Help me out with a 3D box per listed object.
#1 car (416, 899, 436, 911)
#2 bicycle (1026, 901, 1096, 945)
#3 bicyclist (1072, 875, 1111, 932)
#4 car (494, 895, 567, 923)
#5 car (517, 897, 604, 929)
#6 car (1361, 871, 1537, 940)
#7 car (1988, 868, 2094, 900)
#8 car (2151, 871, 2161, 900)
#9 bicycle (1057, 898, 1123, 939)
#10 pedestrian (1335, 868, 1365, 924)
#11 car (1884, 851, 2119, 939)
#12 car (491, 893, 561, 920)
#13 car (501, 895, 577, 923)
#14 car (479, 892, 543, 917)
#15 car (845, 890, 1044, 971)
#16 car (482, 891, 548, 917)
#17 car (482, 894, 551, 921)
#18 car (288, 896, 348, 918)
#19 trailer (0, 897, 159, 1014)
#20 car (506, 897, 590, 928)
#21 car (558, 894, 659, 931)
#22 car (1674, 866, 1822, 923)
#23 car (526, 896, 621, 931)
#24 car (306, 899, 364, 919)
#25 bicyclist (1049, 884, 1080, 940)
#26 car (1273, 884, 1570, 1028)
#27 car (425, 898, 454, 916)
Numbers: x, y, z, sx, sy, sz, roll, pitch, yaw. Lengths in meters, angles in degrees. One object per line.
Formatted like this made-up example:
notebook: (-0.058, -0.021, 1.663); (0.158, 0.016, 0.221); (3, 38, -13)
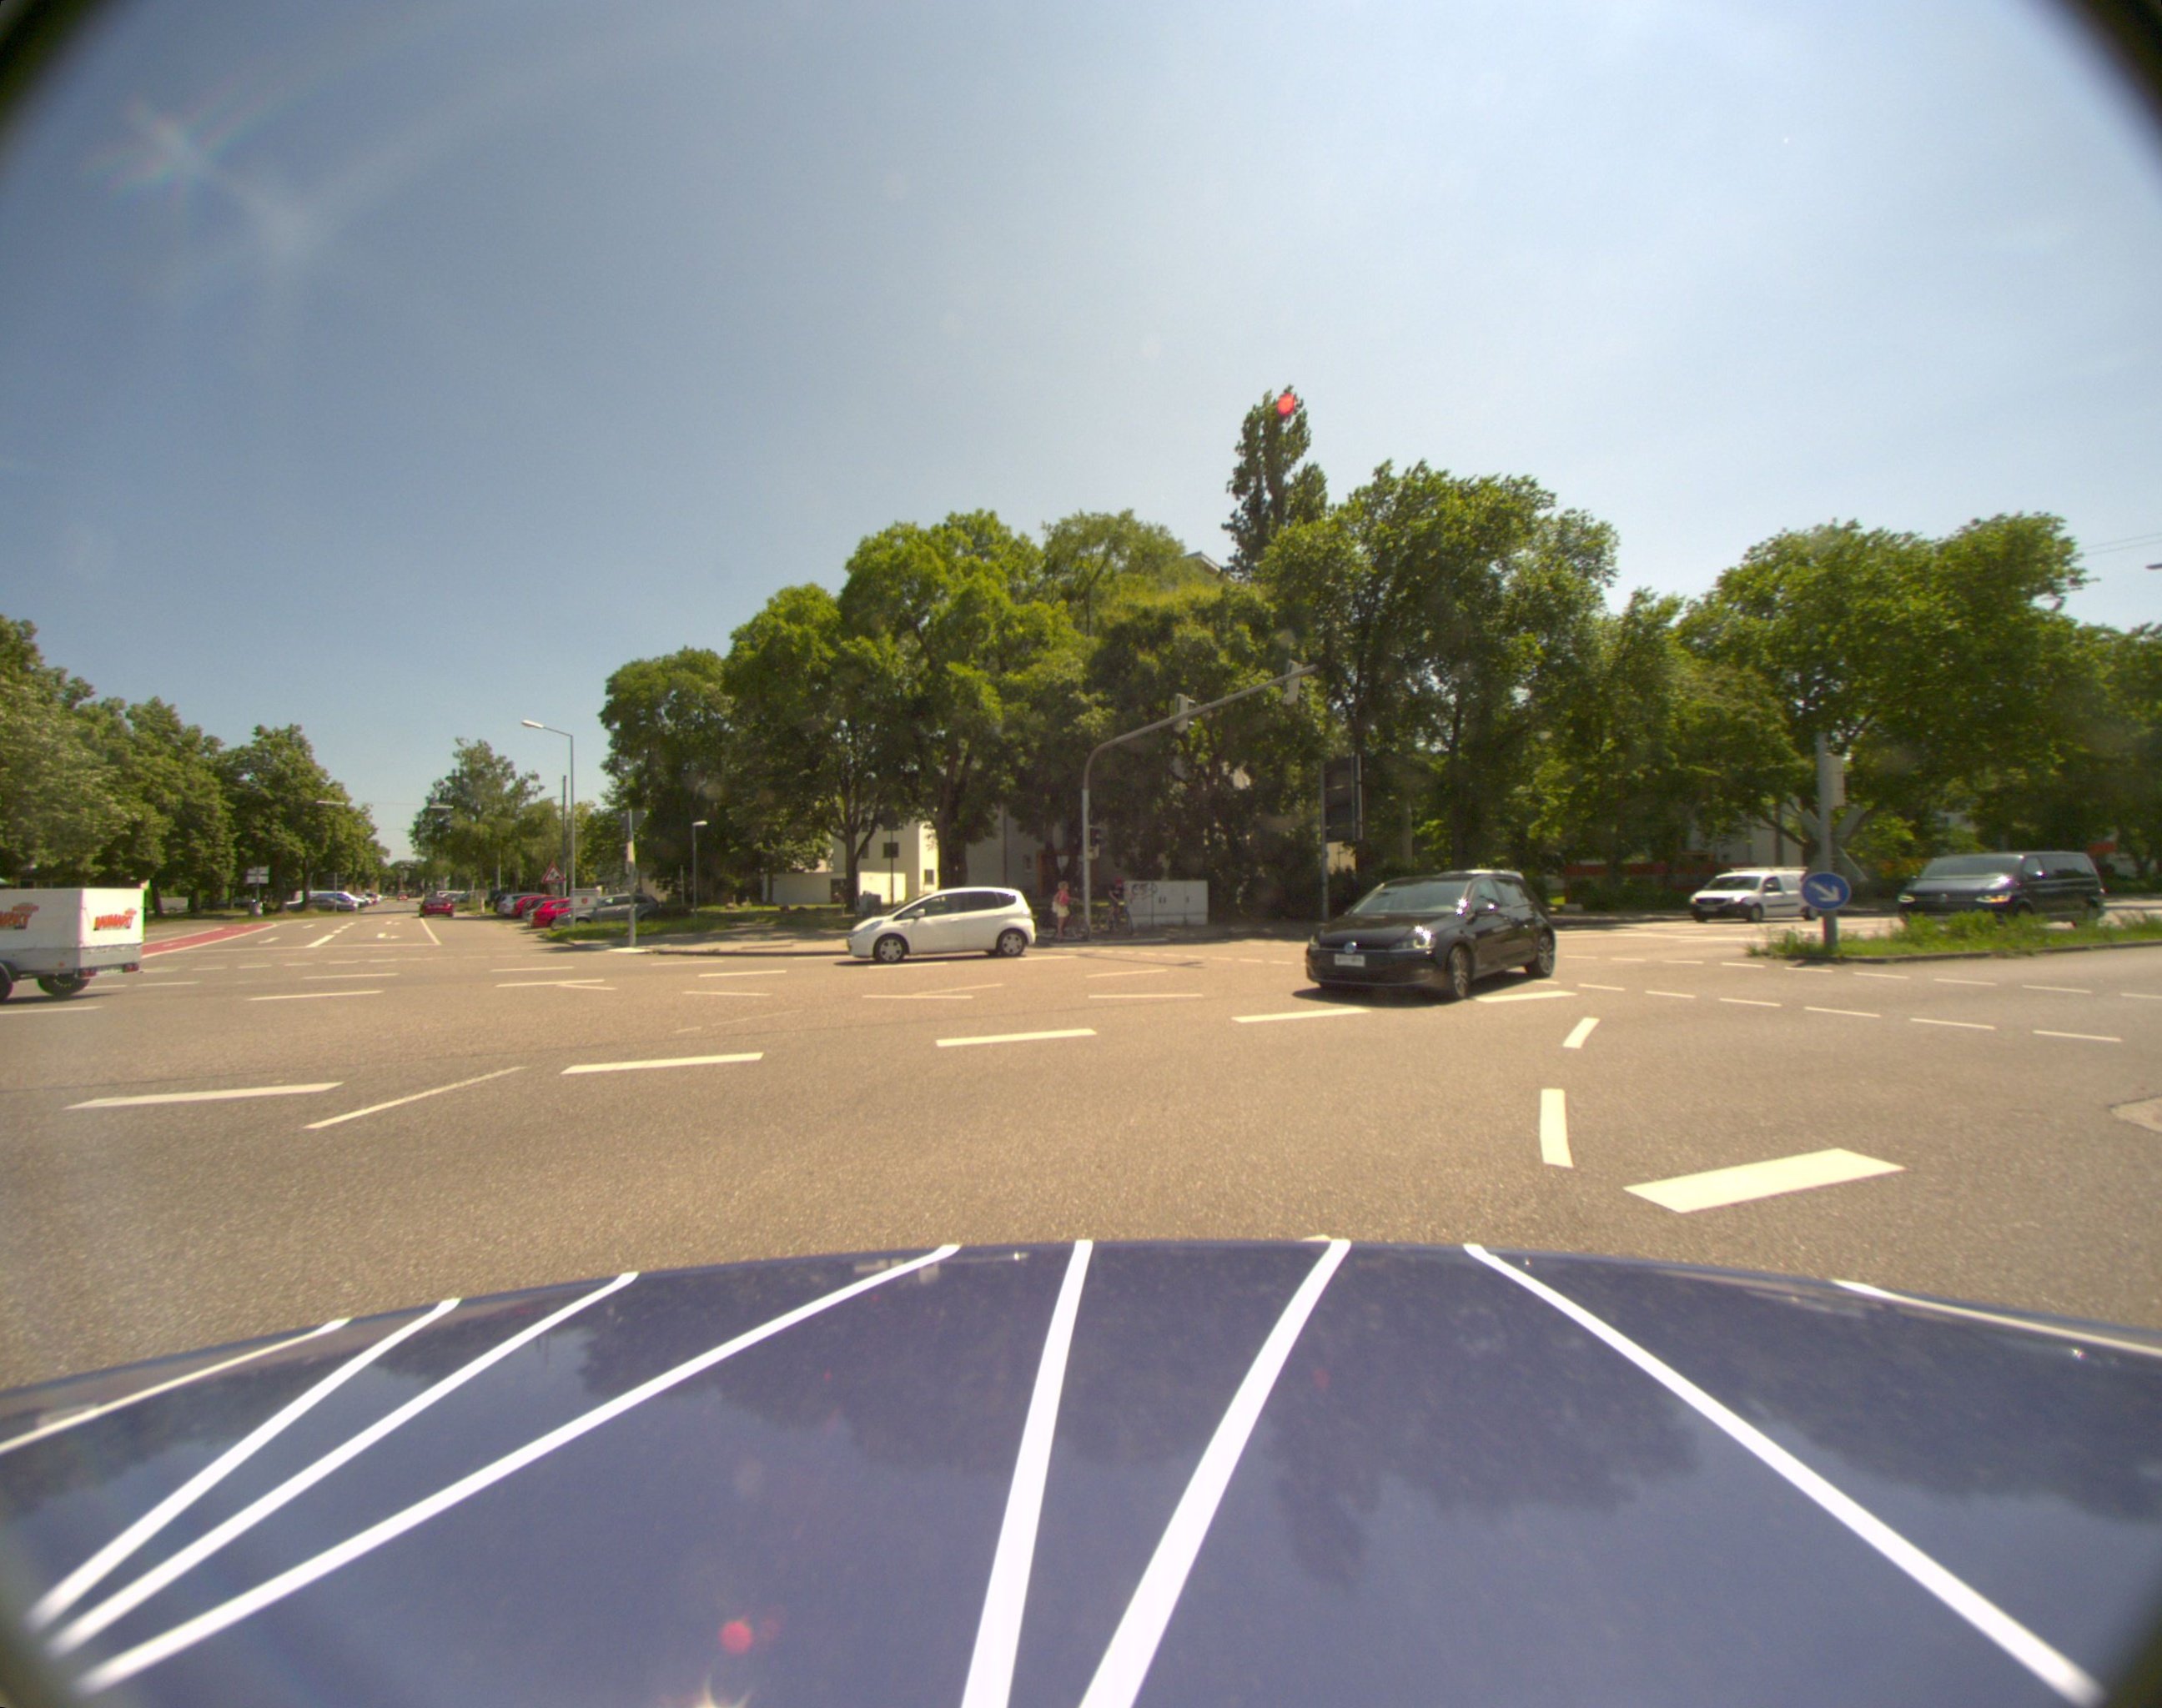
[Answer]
car: (-72.474, 5.627, 84.101); (1.587, 1.219, 3.484); (-1, -3, -40)
bicycle: (-0.556, 1.871, 20.763); (1.801, 1.057, 0.617); (1, 0, 25)
bicyclist: (0.313, 1.398, 21.742); (0.907, 1.535, 0.649); (1, 1, 25)
car: (-34.564, 3.450, 47.755); (3.499, 1.545, 1.581); (-1, -3, -43)
car: (-26.942, 3.043, 39.364); (3.499, 1.419, 1.581); (-1, -3, -43)
car: (10.183, 1.392, 21.062); (4.347, 1.707, 1.809); (0, -3, -20)
car: (45.832, 1.423, 36.279); (4.219, 1.416, 1.847); (0, -3, -20)
car: (54.597, 1.476, 36.944); (4.218, 1.416, 1.847); (0, -3, -19)
bicycle: (0.255, 1.840, 21.791); (1.801, 1.057, 0.617); (1, 1, 25)
pedestrian: (8.905, 1.384, 25.180); (0.679, 1.824, 0.607); (0, -1, -22)
car: (22.310, 0.933, 18.433); (4.850, 1.919, 1.940); (-1, -1, -18)
car: (-36.163, 3.413, 49.556); (3.499, 1.545, 1.581); (-1, -3, -43)
car: (-32.625, 3.312, 45.784); (3.499, 1.419, 1.581); (-1, -3, -43)
car: (-41.191, 3.655, 54.956); (3.499, 1.569, 1.581); (-1, -3, -43)
car: (-2.928, 1.552, 16.243); (3.903, 1.495, 1.729); (0, -3, -23)
car: (-39.760, 3.499, 53.397); (3.499, 1.569, 1.581); (-1, -3, -43)
car: (-37.806, 3.562, 50.907); (3.499, 1.545, 1.581); (-1, -3, -43)
car: (-69.385, 4.830, 69.169); (3.781, 1.717, 1.758); (-1, -3, -43)
trailer: (-16.298, 1.504, 11.313); (2.941, 1.644, 1.407); (0, -3, -21)
car: (-28.712, 3.158, 40.950); (3.499, 1.419, 1.581); (-1, -3, -43)
car: (-20.895, 2.579, 33.703); (1.581, 1.419, 3.499); (-5, -3, 45)
car: (22.801, 1.375, 25.988); (4.397, 1.781, 1.894); (0, -4, -21)
car: (-23.761, 2.783, 35.633); (3.499, 1.419, 1.581); (-1, -3, -43)
car: (-65.028, 4.776, 66.292); (3.499, 1.467, 1.581); (-1, -3, -43)
bicyclist: (-0.436, 1.559, 20.710); (0.627, 1.459, 0.617); (1, 1, 25)
car: (4.429, 1.137, 9.642); (4.062, 1.395, 1.706); (1, -4, -39)
car: (-46.881, 3.877, 55.536); (1.587, 1.219, 3.484); (-1, -3, -40)
